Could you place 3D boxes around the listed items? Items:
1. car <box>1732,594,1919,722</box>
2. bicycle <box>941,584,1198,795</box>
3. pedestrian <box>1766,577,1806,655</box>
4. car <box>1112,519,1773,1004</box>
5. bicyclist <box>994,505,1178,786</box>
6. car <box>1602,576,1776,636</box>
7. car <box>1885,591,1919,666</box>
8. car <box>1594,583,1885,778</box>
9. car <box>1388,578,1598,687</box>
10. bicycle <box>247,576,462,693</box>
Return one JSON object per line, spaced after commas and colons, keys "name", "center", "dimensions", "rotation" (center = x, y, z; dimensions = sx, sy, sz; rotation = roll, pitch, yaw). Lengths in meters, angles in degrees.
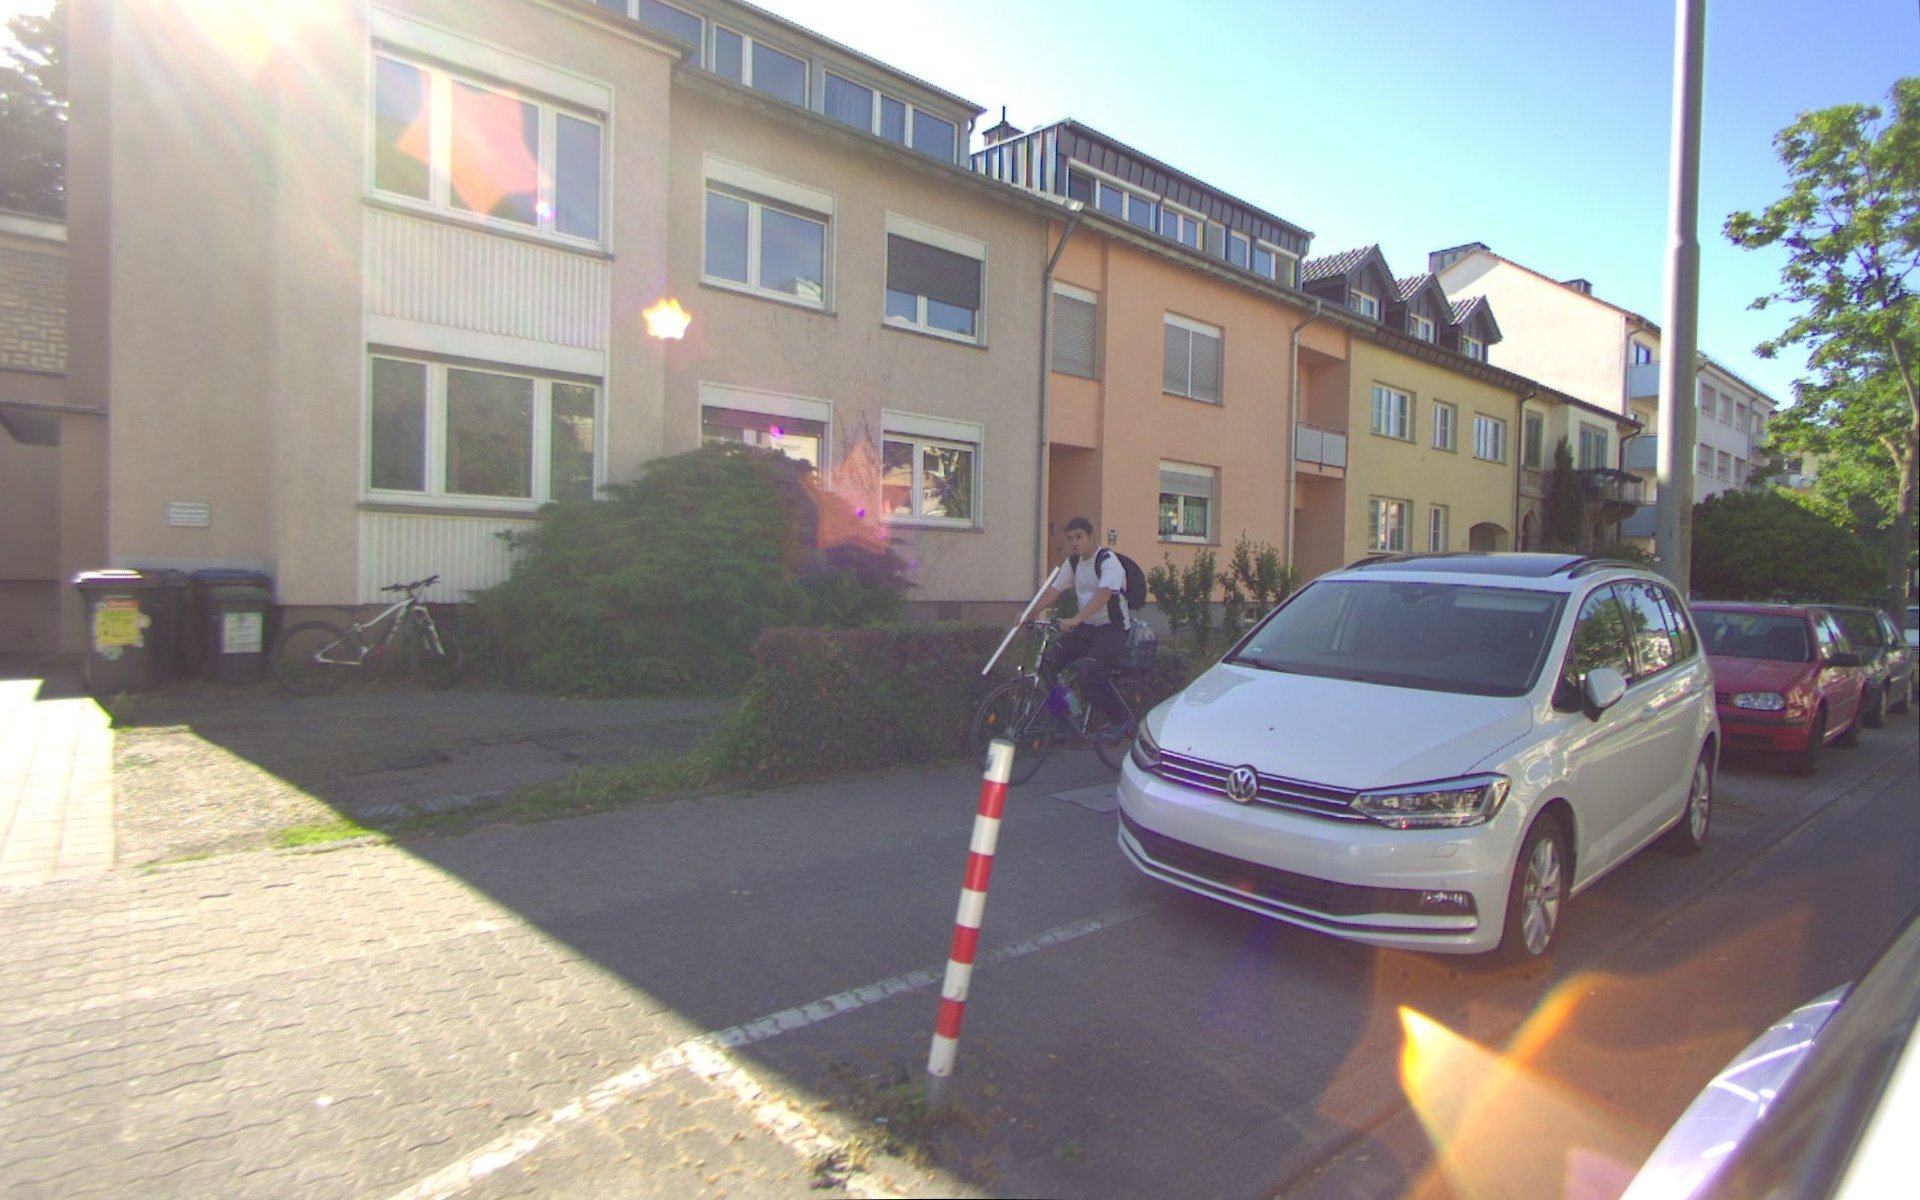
{"name": "car", "center": [11.419, 0.652, 13.100], "dimensions": [3.653, 1.372, 1.535], "rotation": [0, 2, -41]}
{"name": "bicycle", "center": [0.805, 0.555, 7.104], "dimensions": [1.790, 1.261, 0.700], "rotation": [0, 4, -41]}
{"name": "pedestrian", "center": [18.286, 0.345, 22.397], "dimensions": [0.485, 1.698, 0.539], "rotation": [0, 2, -40]}
{"name": "car", "center": [2.915, 0.514, 5.593], "dimensions": [4.267, 1.679, 1.772], "rotation": [0, 3, -42]}
{"name": "bicyclist", "center": [0.888, 0.275, 7.125], "dimensions": [0.998, 1.815, 0.725], "rotation": [0, 3, -41]}
{"name": "car", "center": [22.685, 0.148, 31.606], "dimensions": [1.799, 1.458, 3.998], "rotation": [0, 5, -40]}
{"name": "car", "center": [20.364, 0.596, 20.646], "dimensions": [3.899, 1.420, 1.653], "rotation": [0, 3, -40]}
{"name": "car", "center": [7.527, 0.615, 9.653], "dimensions": [3.654, 1.467, 1.534], "rotation": [0, 2, -42]}
{"name": "car", "center": [8.173, 0.431, 15.394], "dimensions": [3.653, 1.372, 1.535], "rotation": [0, 4, -41]}
{"name": "bicycle", "center": [-5.749, 0.293, 9.681], "dimensions": [1.713, 1.004, 0.456], "rotation": [-1, 5, -41]}
